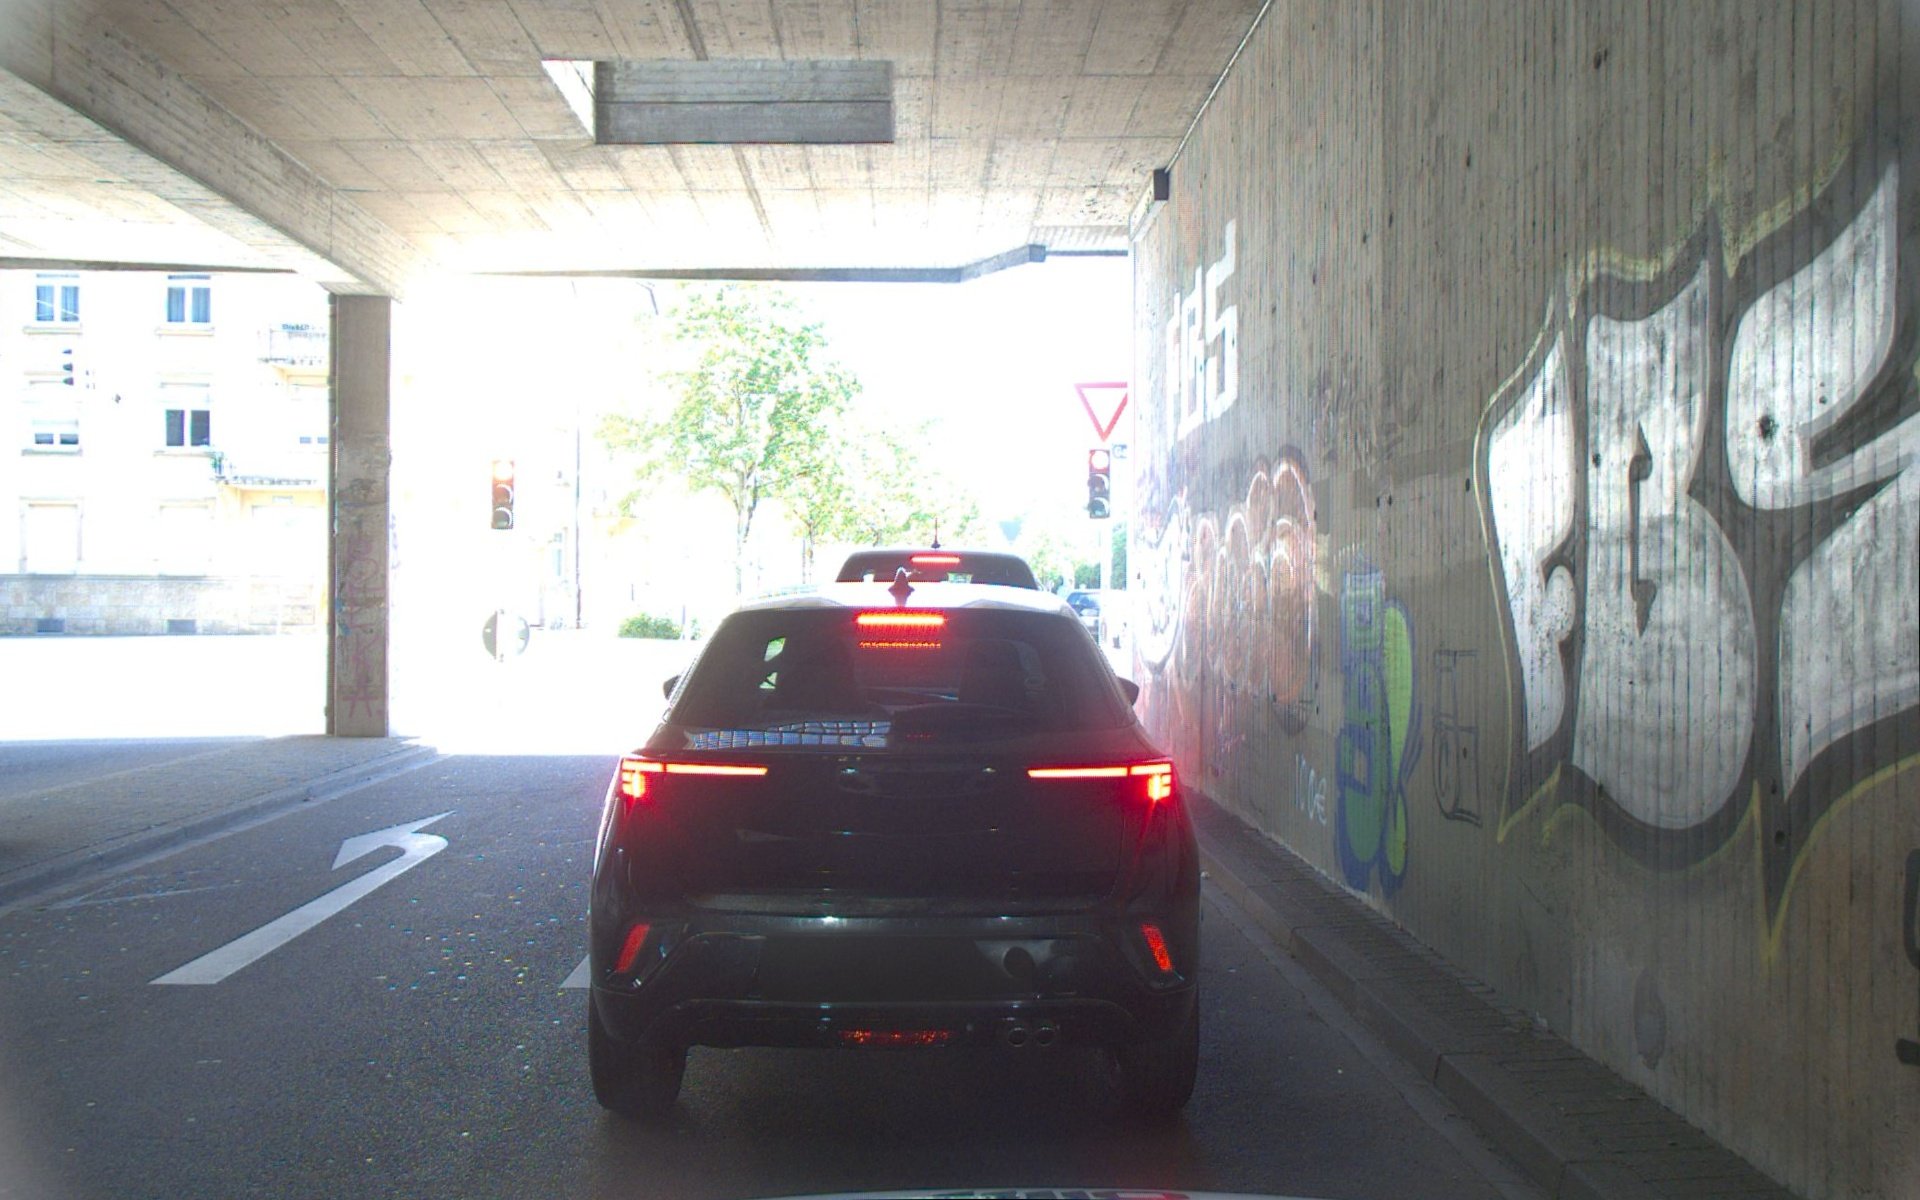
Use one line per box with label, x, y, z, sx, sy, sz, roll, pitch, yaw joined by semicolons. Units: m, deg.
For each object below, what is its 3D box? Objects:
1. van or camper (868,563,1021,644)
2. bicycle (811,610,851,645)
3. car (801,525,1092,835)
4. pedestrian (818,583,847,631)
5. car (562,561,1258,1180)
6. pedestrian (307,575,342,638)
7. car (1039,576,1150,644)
van or camper;-0.368;0.085;43.426;3.795;2.049;2.002;0;0;7
bicycle;-4.407;0.936;56.657;0.721;1.150;2.027;0;0;16
car;-0.102;0.476;12.053;1.749;1.865;3.960;1;0;-1
pedestrian;-4.364;0.232;56.604;0.720;1.612;0.891;1;-1;15
car;-0.139;0.670;6.145;1.718;1.525;4.000;1;0;-1
pedestrian;-17.790;0.186;46.289;0.706;1.734;0.624;1;-1;-3
car;3.665;0.226;44.228;1.952;1.670;4.596;0;1;18
